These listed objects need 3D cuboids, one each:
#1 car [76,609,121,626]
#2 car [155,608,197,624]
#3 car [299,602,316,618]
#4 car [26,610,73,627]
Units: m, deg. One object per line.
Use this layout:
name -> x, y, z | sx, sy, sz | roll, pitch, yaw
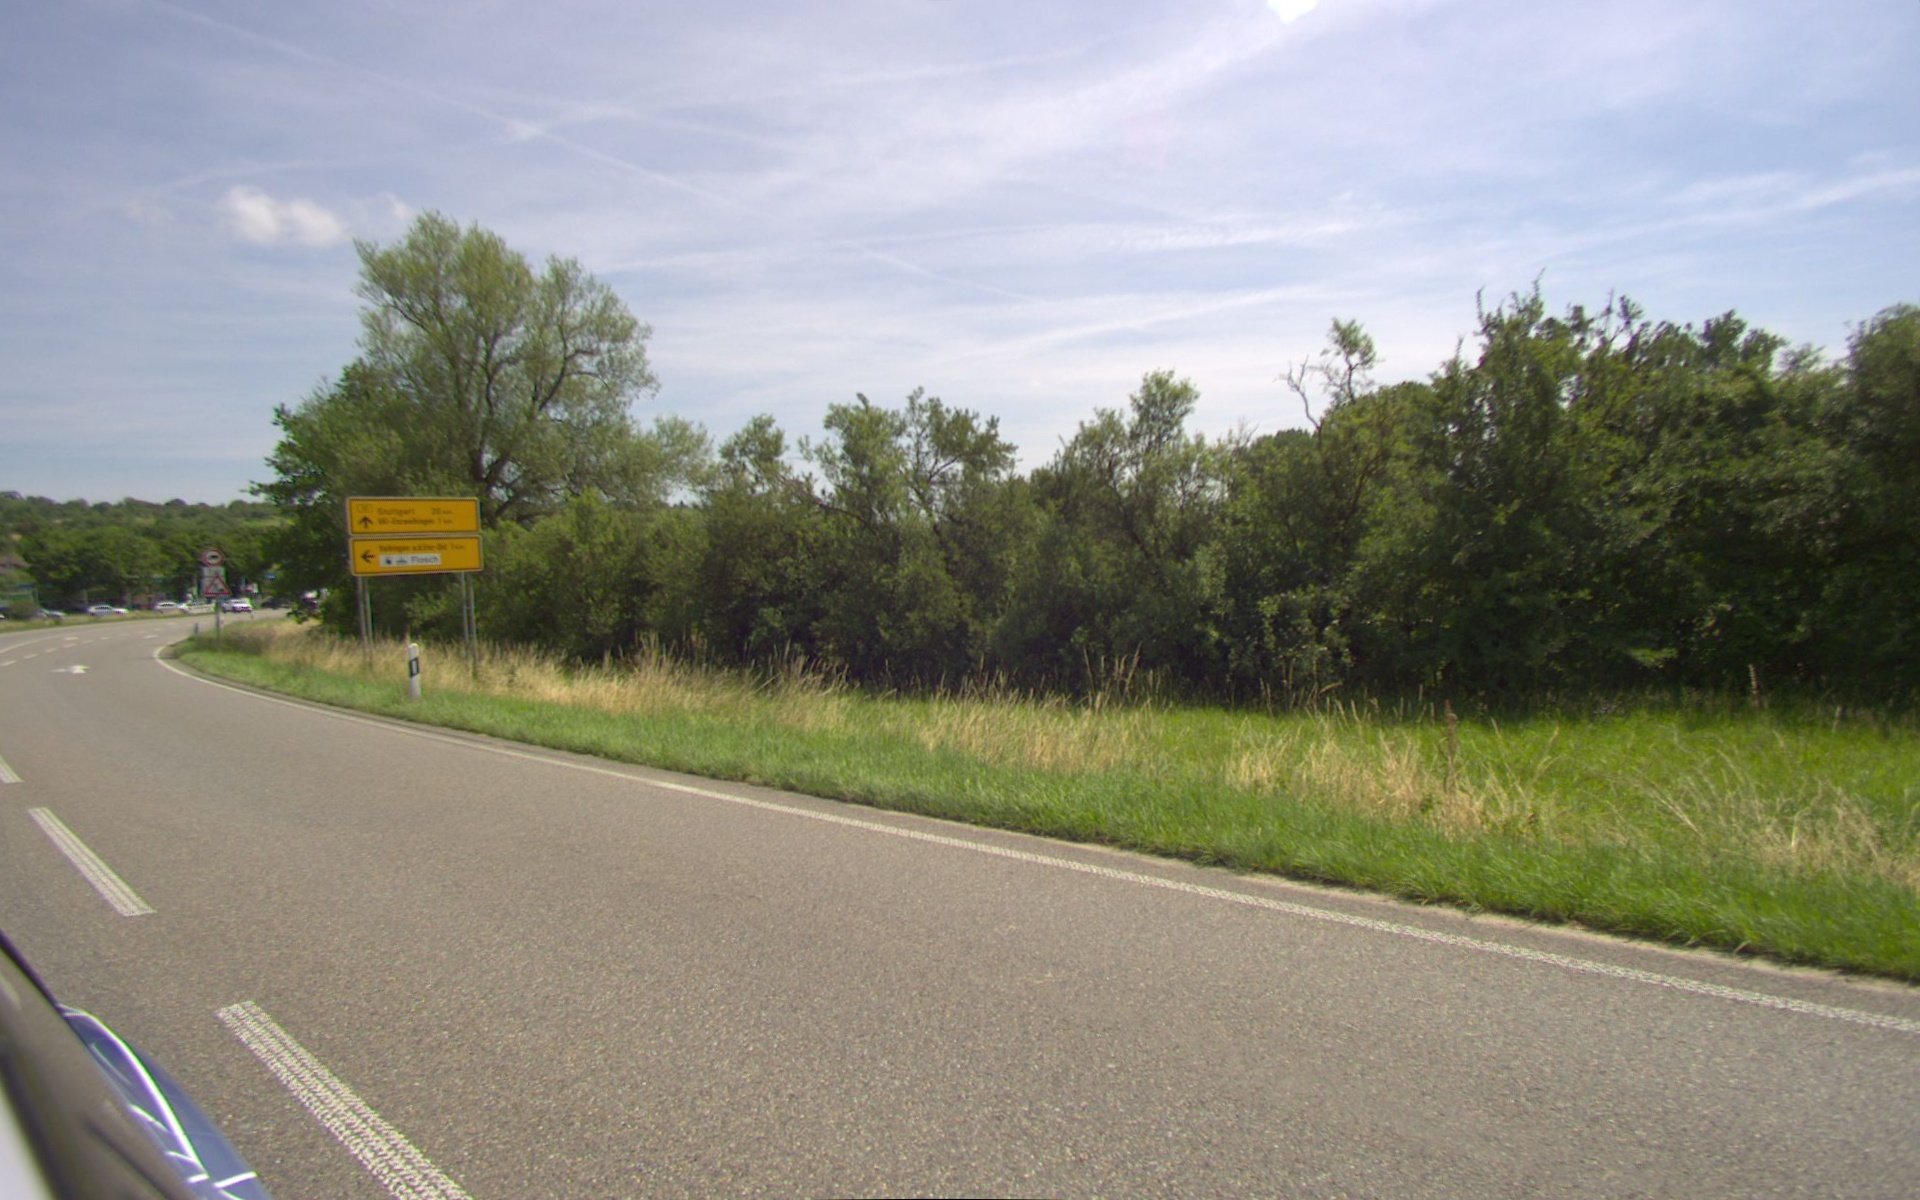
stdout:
car -> -109.785, 2.243, 129.043 | 3.931, 2.029, 1.894 | -1, 0, -21
car -> -102.655, 2.080, 132.523 | 3.931, 2.029, 1.894 | -1, 0, -21
car -> -86.706, 1.335, 134.464 | 1.856, 2.029, 4.010 | -1, -1, -34
car -> -114.682, 2.301, 127.521 | 3.930, 2.029, 1.894 | -1, 0, -24
